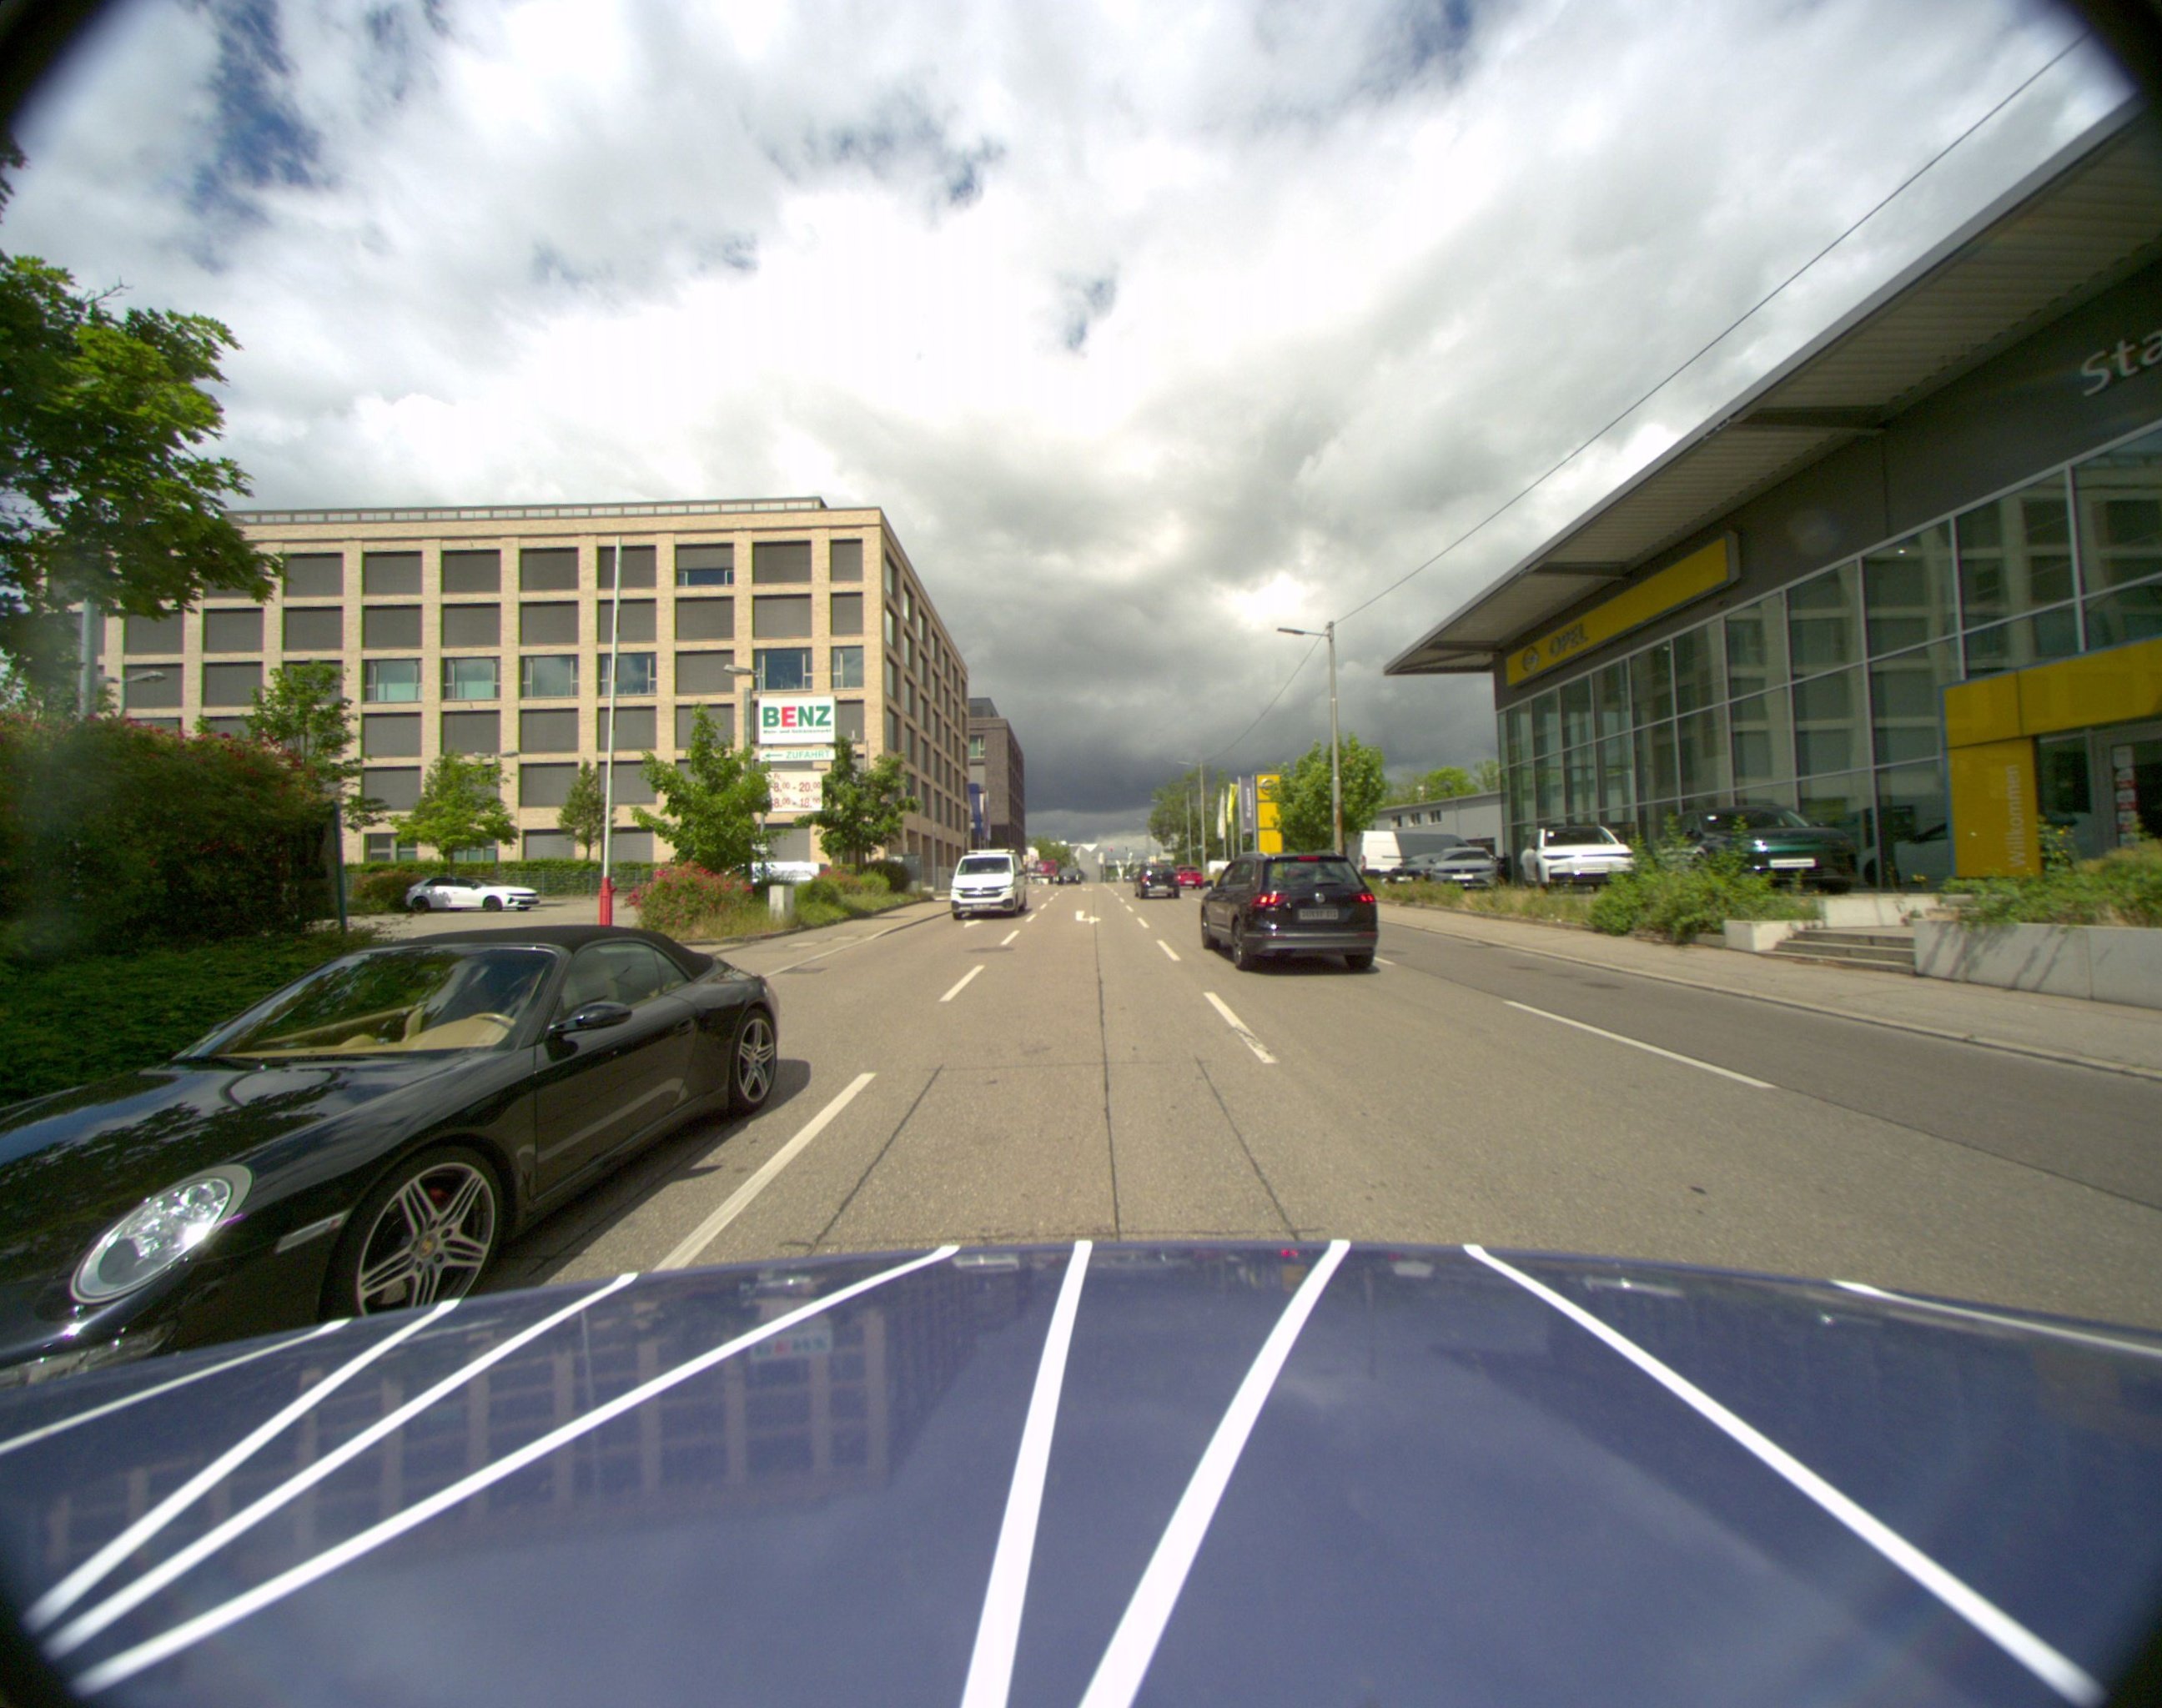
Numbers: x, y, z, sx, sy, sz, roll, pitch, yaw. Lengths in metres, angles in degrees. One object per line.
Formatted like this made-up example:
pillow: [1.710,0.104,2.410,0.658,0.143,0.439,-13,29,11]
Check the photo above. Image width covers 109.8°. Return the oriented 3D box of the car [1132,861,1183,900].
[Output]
car: [3.204,1.083,32.347,1.731,1.494,3.438,-1,0,-1]

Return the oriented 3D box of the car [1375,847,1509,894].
car: [13.163,0.578,27.780,4.108,1.604,1.797,-1,0,-8]

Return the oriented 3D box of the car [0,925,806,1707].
car: [-3.069,1.207,3.493,1.777,1.267,4.569,-3,0,2]

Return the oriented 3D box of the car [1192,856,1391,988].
car: [2.921,0.857,11.516,1.797,1.604,4.108,-1,0,-1]

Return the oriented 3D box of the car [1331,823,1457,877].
car: [13.381,-0.178,32.701,4.531,2.182,2.179,-1,1,-1]

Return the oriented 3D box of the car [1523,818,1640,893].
car: [12.016,0.026,18.510,1.794,1.604,4.115,-1,0,25]

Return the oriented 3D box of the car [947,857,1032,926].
car: [-2.729,1.071,23.718,1.964,1.840,4.645,-3,0,1]

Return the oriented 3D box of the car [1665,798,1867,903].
car: [12.139,-0.046,13.792,1.817,1.604,4.117,-1,0,29]

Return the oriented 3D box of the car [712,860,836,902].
car: [-12.215,1.070,30.429,4.220,1.567,1.735,-1,0,-4]

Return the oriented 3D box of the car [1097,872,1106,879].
car: [4.277,4.454,158.313,1.731,1.494,3.753,-1,0,-1]

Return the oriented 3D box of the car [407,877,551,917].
car: [-23.548,1.660,29.808,4.219,1.410,1.735,-1,0,-1]

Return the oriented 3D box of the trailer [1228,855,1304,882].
trailer: [12.979,1.005,53.452,4.835,1.742,2.095,-1,0,-3]

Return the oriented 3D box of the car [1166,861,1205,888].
car: [6.141,1.185,45.113,1.731,1.494,3.753,-1,0,-1]

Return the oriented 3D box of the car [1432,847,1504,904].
car: [12.058,0.619,23.860,1.794,1.604,4.116,-1,0,24]

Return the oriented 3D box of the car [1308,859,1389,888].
car: [14.787,1.042,42.135,3.946,1.518,1.561,-1,0,-2]

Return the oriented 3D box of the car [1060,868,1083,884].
car: [-0.821,1.867,66.595,1.777,1.267,4.569,-1,0,2]

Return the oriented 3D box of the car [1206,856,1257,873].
car: [13.701,0.910,69.371,4.252,1.473,2.095,-1,0,-2]

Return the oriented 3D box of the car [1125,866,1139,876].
car: [7.593,2.497,113.134,1.731,1.494,3.753,-1,0,-1]
